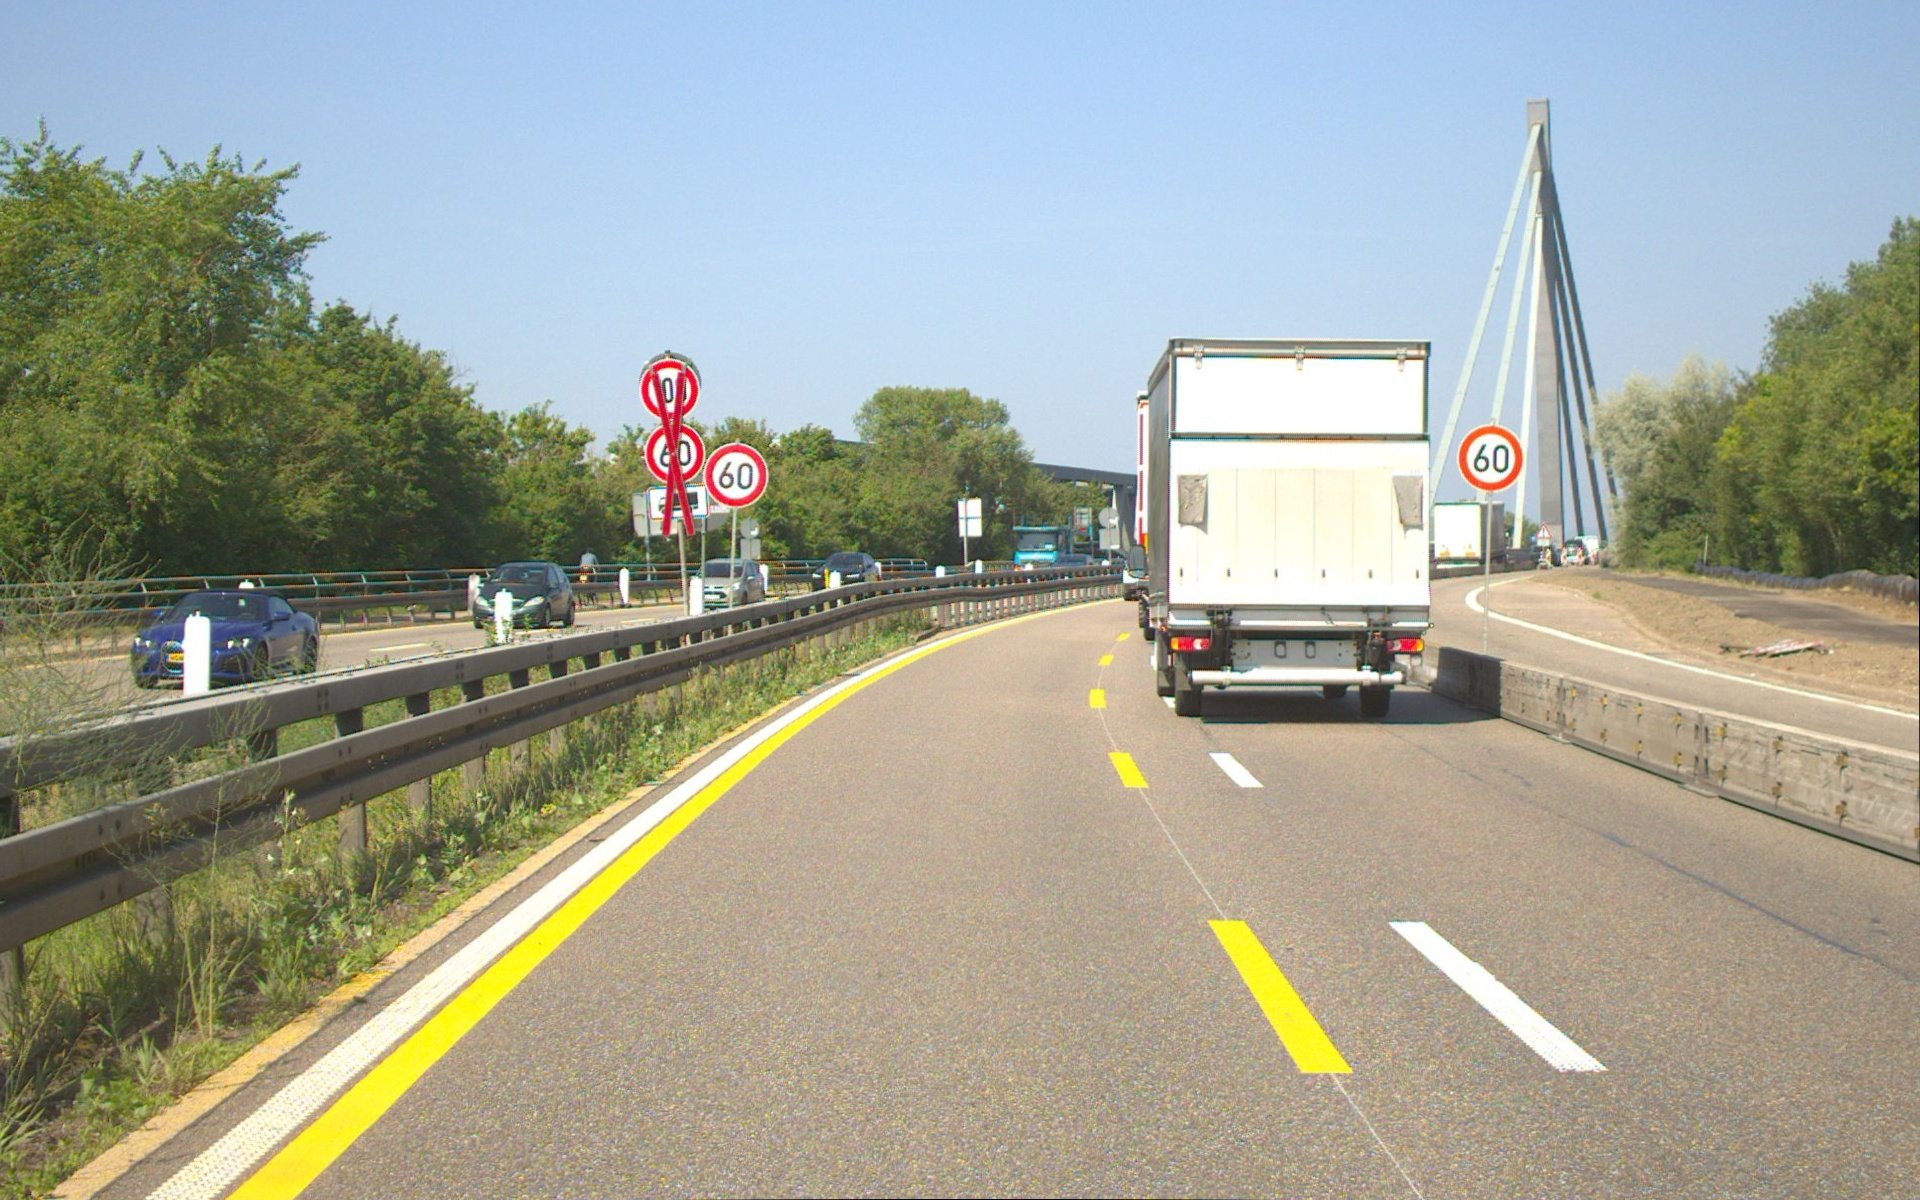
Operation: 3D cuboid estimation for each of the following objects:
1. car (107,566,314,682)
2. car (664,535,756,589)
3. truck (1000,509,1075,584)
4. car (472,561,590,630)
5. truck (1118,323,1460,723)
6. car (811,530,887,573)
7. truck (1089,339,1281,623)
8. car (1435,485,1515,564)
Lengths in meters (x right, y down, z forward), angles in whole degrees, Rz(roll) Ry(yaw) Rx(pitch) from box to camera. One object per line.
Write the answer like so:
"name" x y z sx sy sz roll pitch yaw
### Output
"car" -10.890 0.317 50.223 1.993 1.546 4.000 -1 1 2
"car" -7.532 -1.174 103.881 1.994 1.546 3.999 -1 1 7
"truck" 3.944 -2.737 173.582 2.509 3.601 6.190 -2 2 13
"car" -10.338 -0.124 83.078 1.994 1.546 3.999 -1 1 5
"truck" 3.007 -0.734 33.316 2.634 3.416 7.233 1 1 1
"car" -4.108 -1.823 128.183 1.994 1.546 3.998 -1 1 11
"truck" 3.688 -1.950 57.946 2.634 4.453 7.233 1 1 -1
"car" 29.397 -4.359 196.492 4.208 4.237 10.659 -2 2 8
